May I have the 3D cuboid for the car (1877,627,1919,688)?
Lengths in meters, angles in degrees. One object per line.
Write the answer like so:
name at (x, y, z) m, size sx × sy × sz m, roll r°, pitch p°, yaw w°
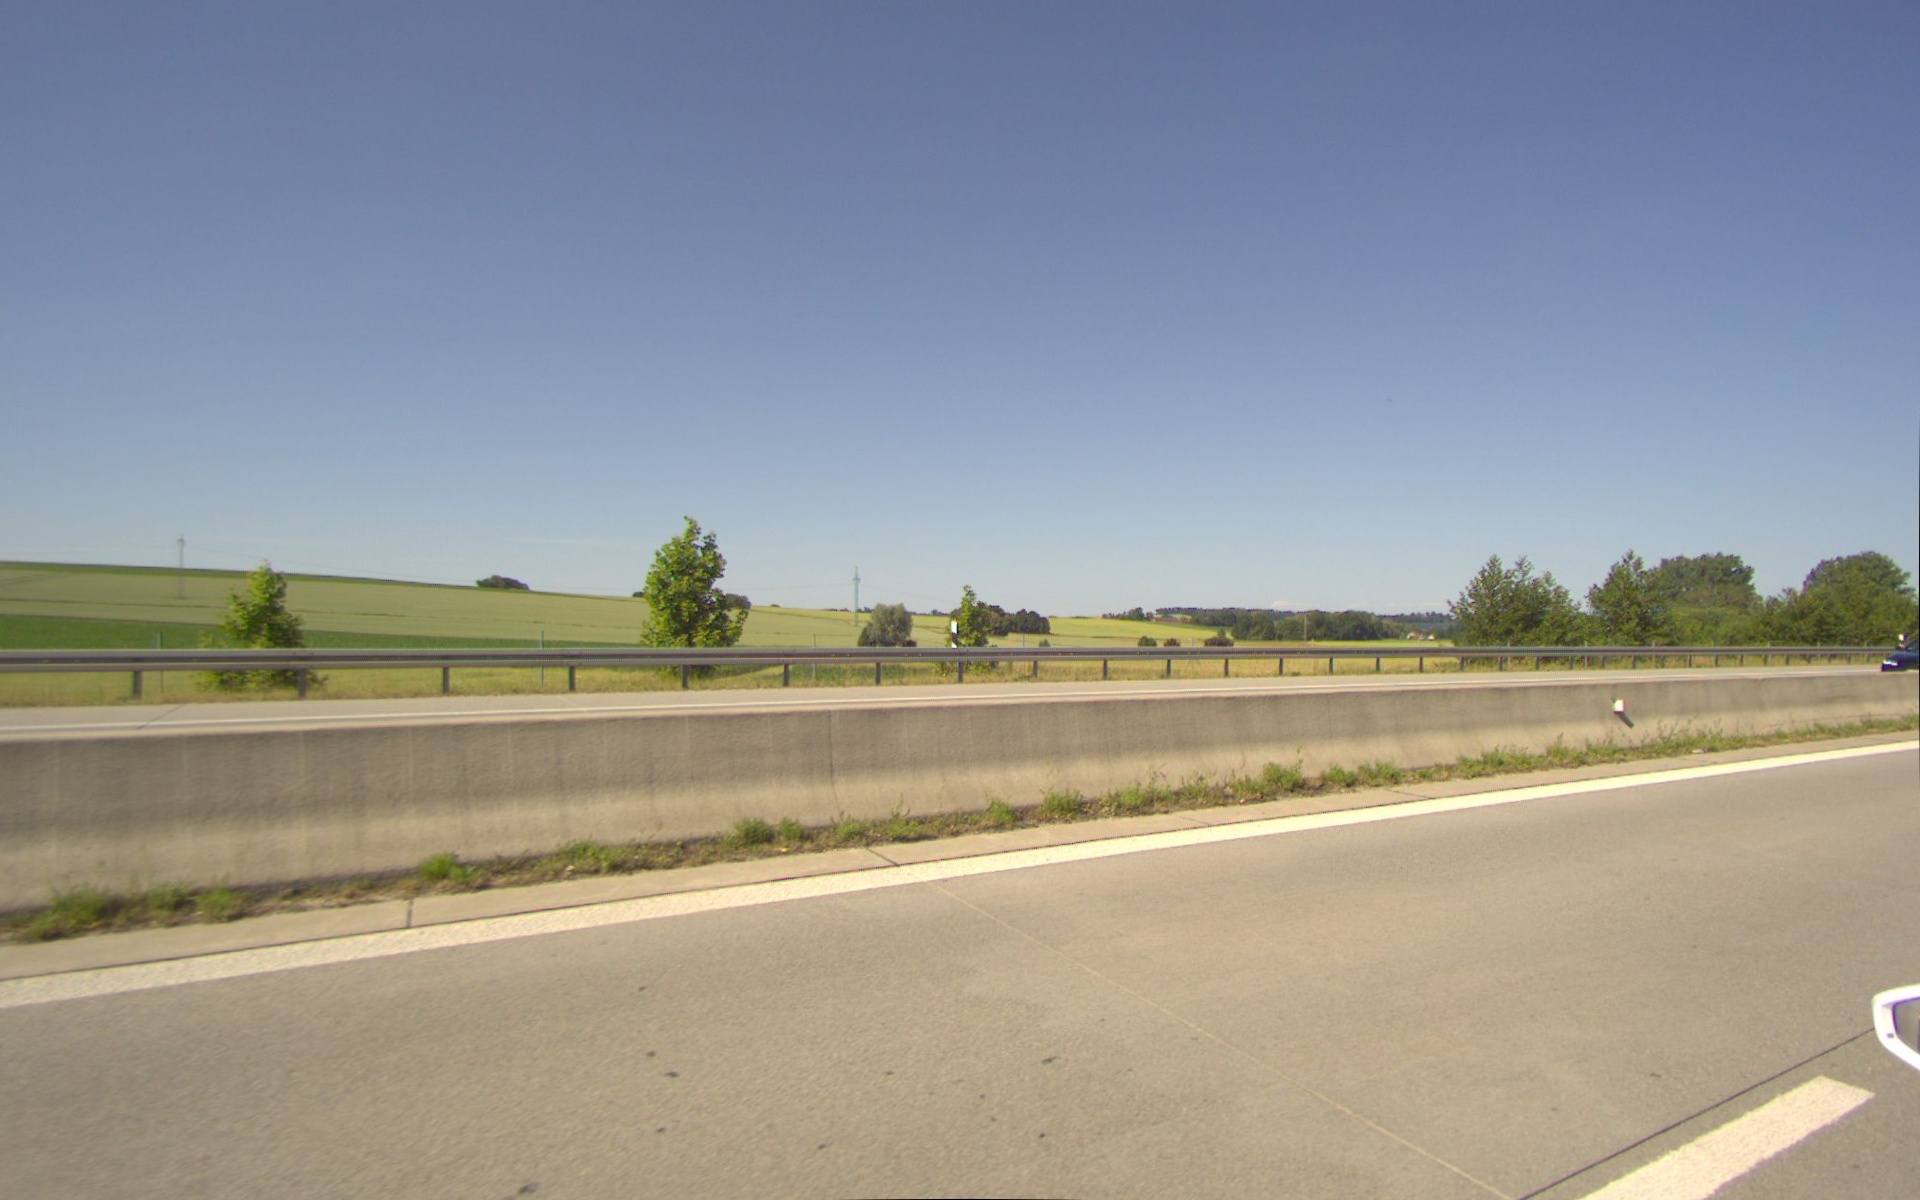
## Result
car at (27.843, 1.635, 28.332) m, size 4.575 × 1.610 × 1.702 m, roll 2°, pitch 0°, yaw -31°
